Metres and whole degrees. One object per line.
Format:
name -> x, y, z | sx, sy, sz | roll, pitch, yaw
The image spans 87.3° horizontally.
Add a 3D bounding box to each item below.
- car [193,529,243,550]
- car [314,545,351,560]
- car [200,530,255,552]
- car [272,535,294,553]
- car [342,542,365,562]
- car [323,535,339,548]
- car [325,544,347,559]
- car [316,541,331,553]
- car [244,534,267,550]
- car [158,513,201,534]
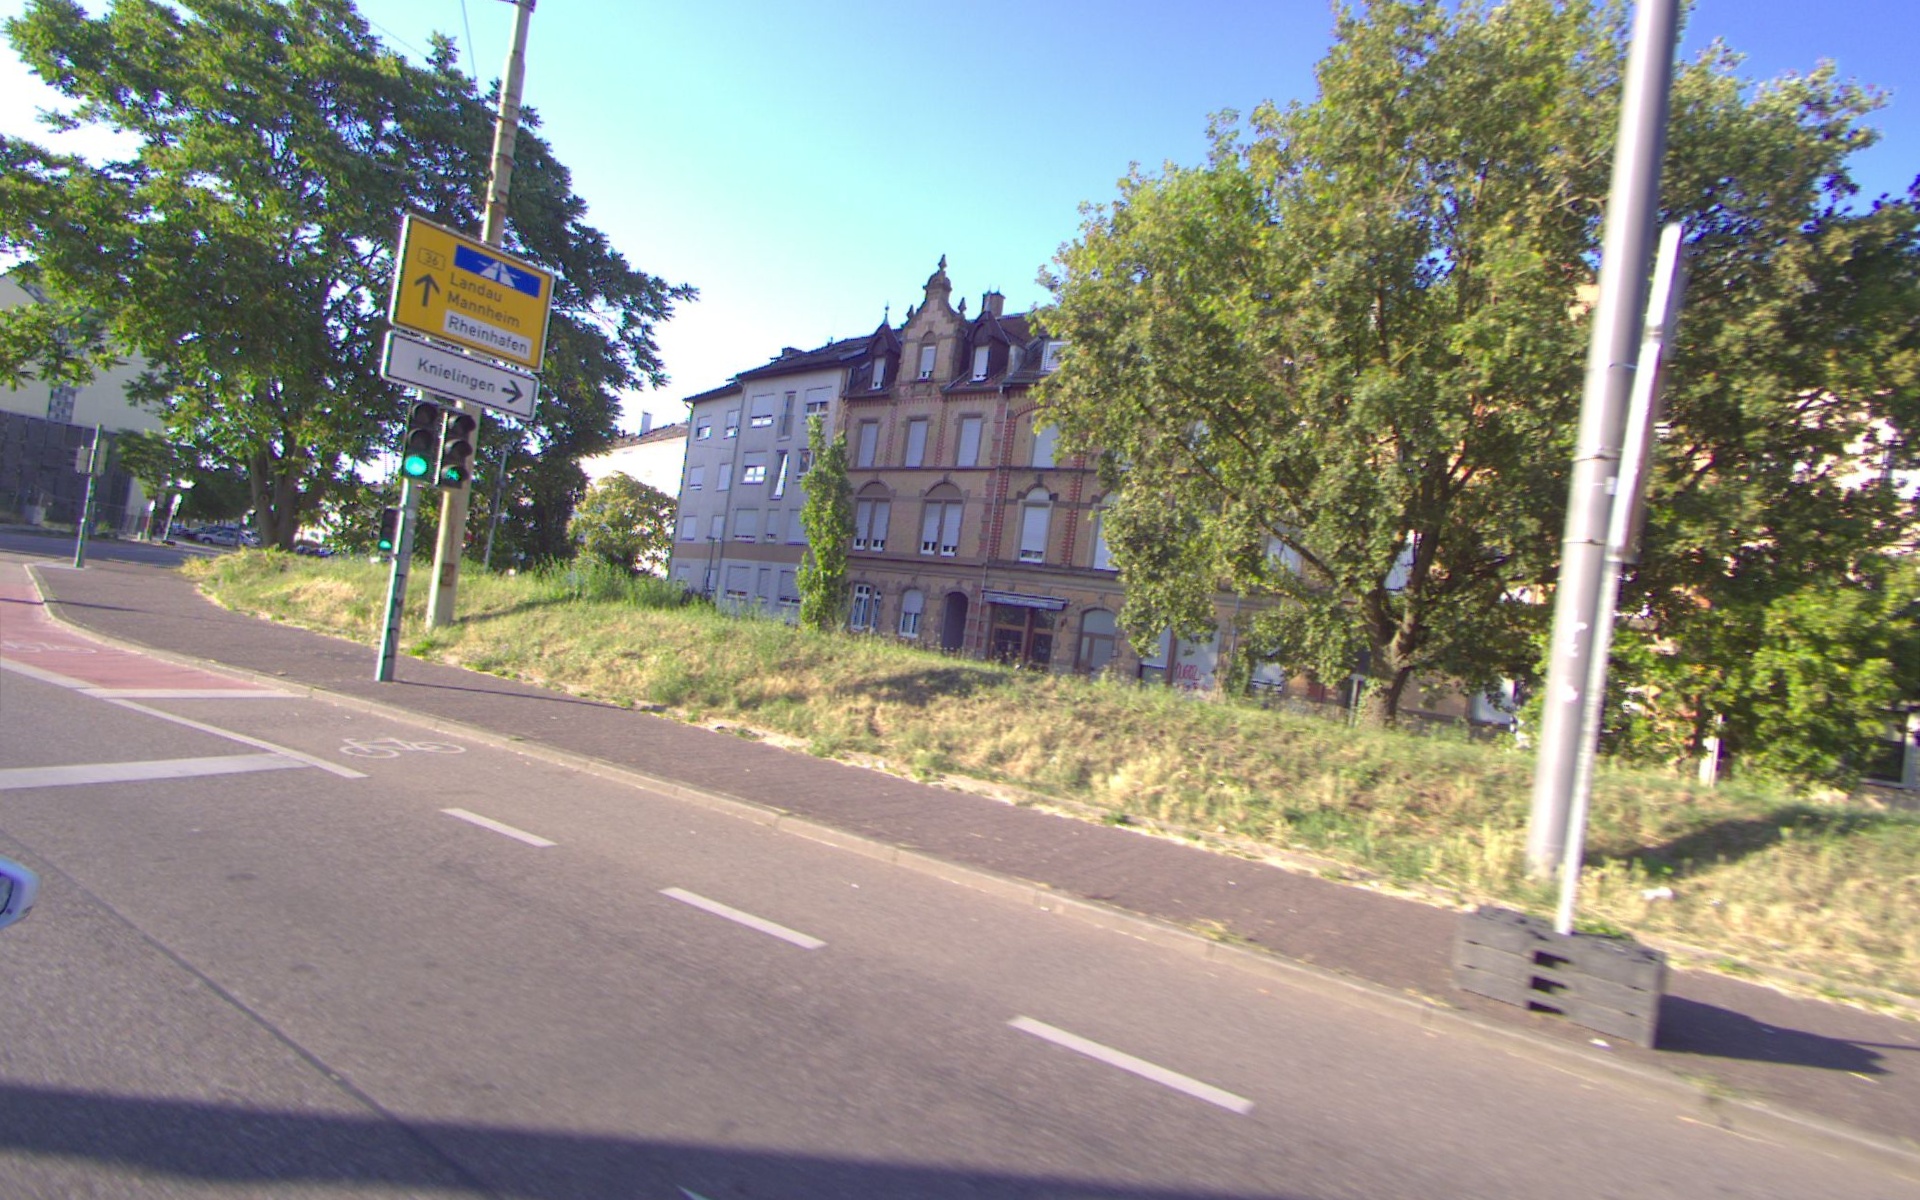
car -> -67.983, -5.505, 92.161 | 3.532, 1.366, 1.689 | 8, -2, -40
car -> -85.496, -6.437, 137.042 | 4.027, 1.475, 1.861 | 8, -2, -36
car -> -62.808, -5.058, 86.241 | 3.685, 1.316, 1.495 | 9, -2, -39
car -> -84.910, -7.028, 126.232 | 1.845, 1.926, 3.969 | 8, -1, -30
car -> -67.582, -5.306, 112.117 | 1.847, 1.926, 3.965 | 8, -1, -34
car -> -89.719, -8.324, 143.479 | 1.847, 1.562, 3.845 | 8, -1, -33
car -> -78.784, -6.130, 126.978 | 1.919, 1.562, 3.960 | 8, -1, -37
car -> -97.877, -8.167, 154.668 | 1.847, 1.562, 3.965 | 8, -1, -33
car -> -77.809, -6.391, 111.207 | 1.862, 1.476, 3.752 | 8, -1, -34
car -> -97.590, -9.566, 125.856 | 3.963, 1.926, 1.848 | 8, -1, -34
